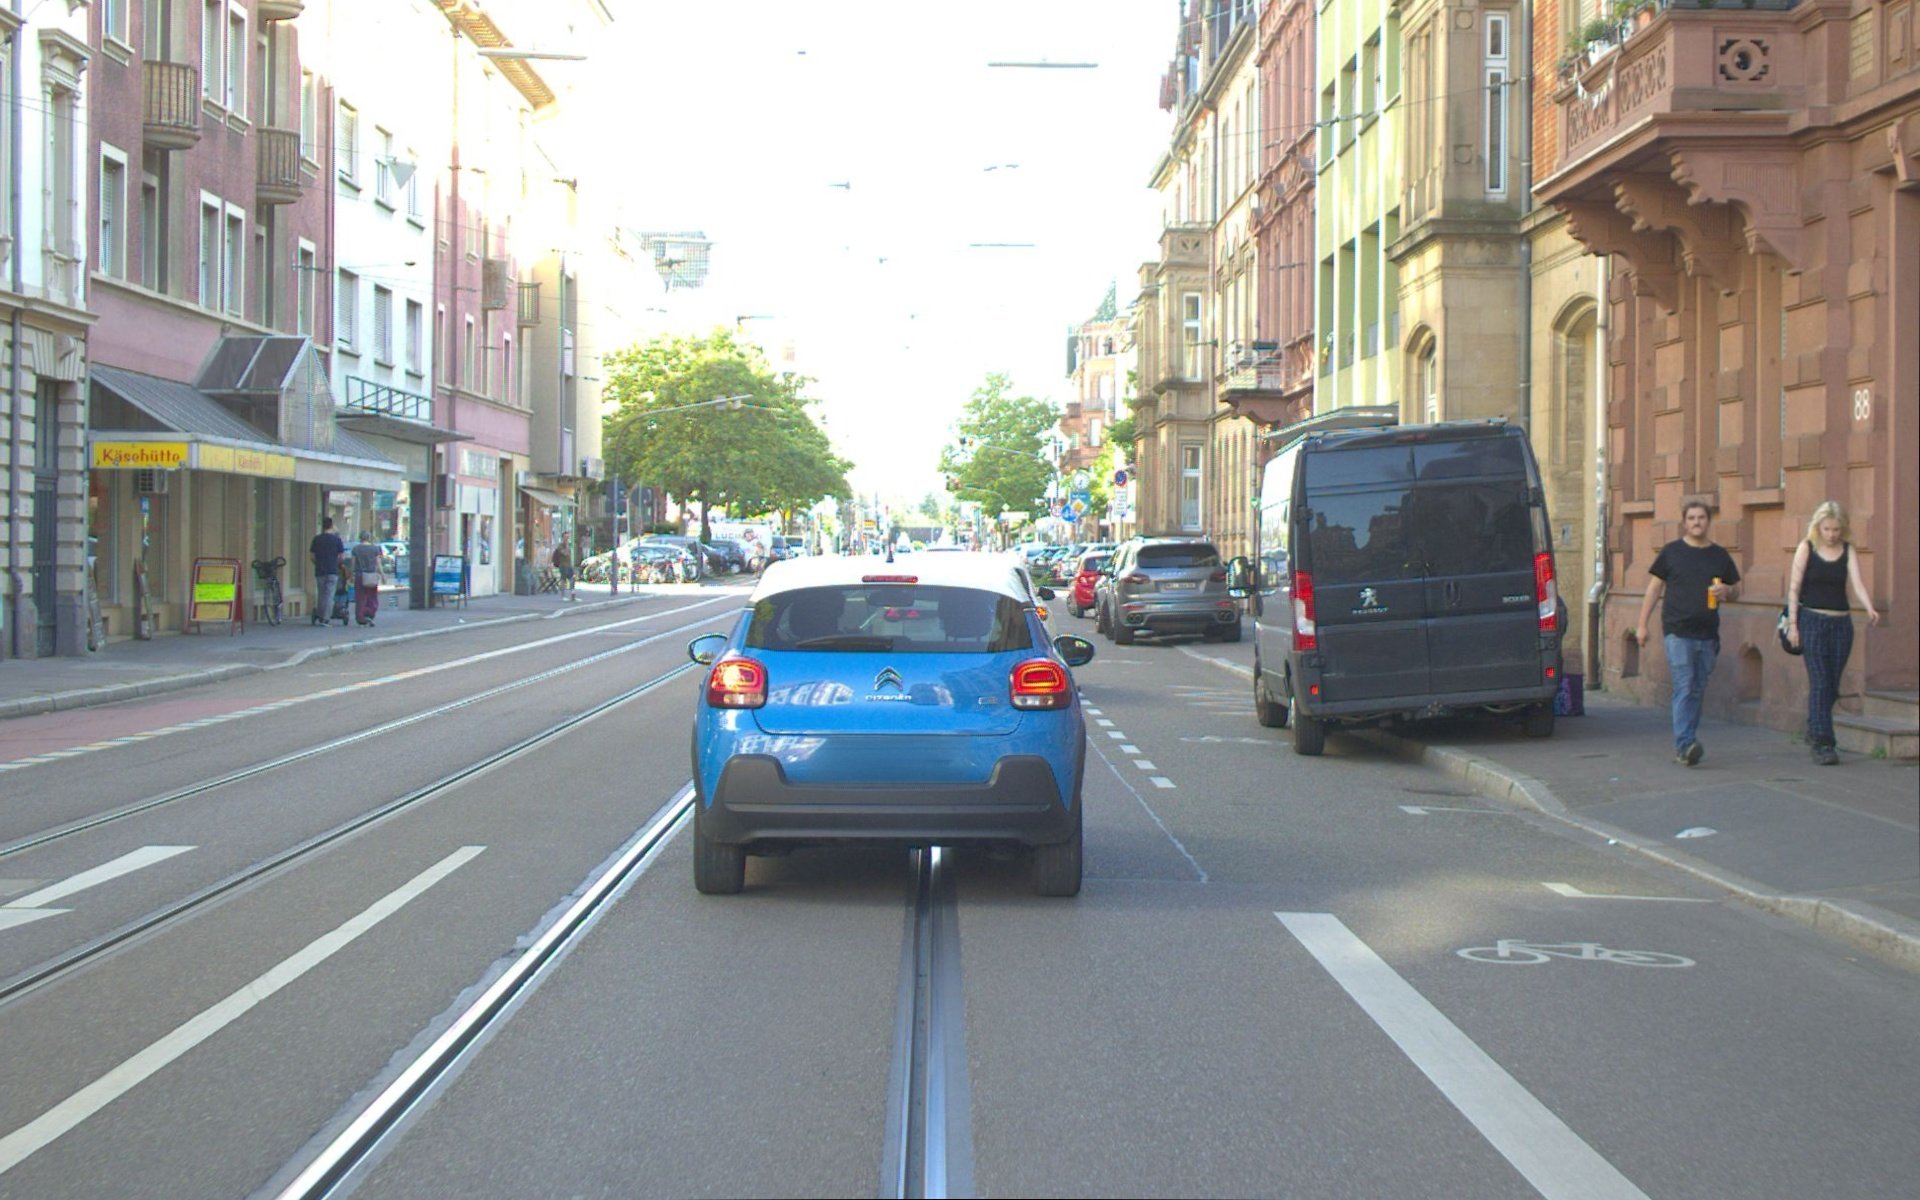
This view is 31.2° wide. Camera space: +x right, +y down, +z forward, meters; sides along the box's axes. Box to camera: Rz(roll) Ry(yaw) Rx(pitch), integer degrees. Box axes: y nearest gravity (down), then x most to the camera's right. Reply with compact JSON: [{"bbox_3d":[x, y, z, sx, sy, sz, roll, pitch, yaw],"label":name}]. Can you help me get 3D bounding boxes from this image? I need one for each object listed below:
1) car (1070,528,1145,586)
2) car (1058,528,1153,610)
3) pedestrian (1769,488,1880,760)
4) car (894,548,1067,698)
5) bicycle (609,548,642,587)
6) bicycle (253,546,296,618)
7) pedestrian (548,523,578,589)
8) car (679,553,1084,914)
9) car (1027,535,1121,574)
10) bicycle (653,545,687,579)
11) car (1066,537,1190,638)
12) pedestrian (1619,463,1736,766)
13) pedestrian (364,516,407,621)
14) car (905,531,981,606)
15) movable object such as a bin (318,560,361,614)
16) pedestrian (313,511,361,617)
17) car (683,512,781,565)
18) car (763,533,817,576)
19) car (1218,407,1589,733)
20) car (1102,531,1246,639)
[{"bbox_3d":[4.473,-1.315,104.697,2.005,1.667,4.391,-2,1,-1],"label":"car"},{"bbox_3d":[3.357,-0.754,80.121,2.005,1.666,4.392,0,3,0],"label":"car"},{"bbox_3d":[5.739,0.152,22.837,0.553,1.776,0.606,0,1,-2],"label":"pedestrian"},{"bbox_3d":[0.165,0.200,36.010,1.667,1.473,4.000,0,1,-2],"label":"car"},{"bbox_3d":[-11.730,-1.152,120.314,1.120,1.315,3.645,0,1,-6],"label":"bicycle"},{"bbox_3d":[-11.299,-0.307,56.623,0.621,1.155,2.066,0,1,-14],"label":"bicycle"},{"bbox_3d":[-9.918,-1.099,85.928,0.685,1.633,0.675,0,1,-2],"label":"pedestrian"},{"bbox_3d":[-0.462,0.528,16.260,1.673,1.472,4.001,0,1,-4],"label":"car"},{"bbox_3d":[4.812,-1.930,145.598,3.835,1.612,1.792,0,1,-3],"label":"car"},{"bbox_3d":[-10.165,-1.343,120.554,1.120,1.142,3.645,0,1,-6],"label":"bicycle"},{"bbox_3d":[2.968,-0.255,61.526,1.905,1.751,4.000,0,1,-1],"label":"car"},{"bbox_3d":[4.828,0.088,23.170,0.585,2.007,0.823,0,1,-2],"label":"pedestrian"},{"bbox_3d":[-9.641,-0.536,57.704,0.710,1.758,0.655,0,1,-9],"label":"pedestrian"},{"bbox_3d":[-0.479,-0.873,93.592,1.993,2.007,4.000,0,1,-2],"label":"car"},{"bbox_3d":[-10.502,-0.223,58.229,0.610,0.911,0.695,0,1,-1],"label":"movable object such as a bin"},{"bbox_3d":[-10.435,-0.606,57.564,0.710,1.758,0.570,0,1,-2],"label":"pedestrian"},{"bbox_3d":[-11.250,-3.040,169.357,4.307,2.572,2.210,-1,1,-26],"label":"car"},{"bbox_3d":[-6.608,-1.790,133.757,1.993,1.645,4.000,0,1,-1],"label":"car"},{"bbox_3d":[3.549,-0.273,28.722,2.271,2.428,5.720,1,1,-1],"label":"car"},{"bbox_3d":[3.430,-0.279,55.926,2.005,1.667,4.806,0,1,-1],"label":"car"}]
